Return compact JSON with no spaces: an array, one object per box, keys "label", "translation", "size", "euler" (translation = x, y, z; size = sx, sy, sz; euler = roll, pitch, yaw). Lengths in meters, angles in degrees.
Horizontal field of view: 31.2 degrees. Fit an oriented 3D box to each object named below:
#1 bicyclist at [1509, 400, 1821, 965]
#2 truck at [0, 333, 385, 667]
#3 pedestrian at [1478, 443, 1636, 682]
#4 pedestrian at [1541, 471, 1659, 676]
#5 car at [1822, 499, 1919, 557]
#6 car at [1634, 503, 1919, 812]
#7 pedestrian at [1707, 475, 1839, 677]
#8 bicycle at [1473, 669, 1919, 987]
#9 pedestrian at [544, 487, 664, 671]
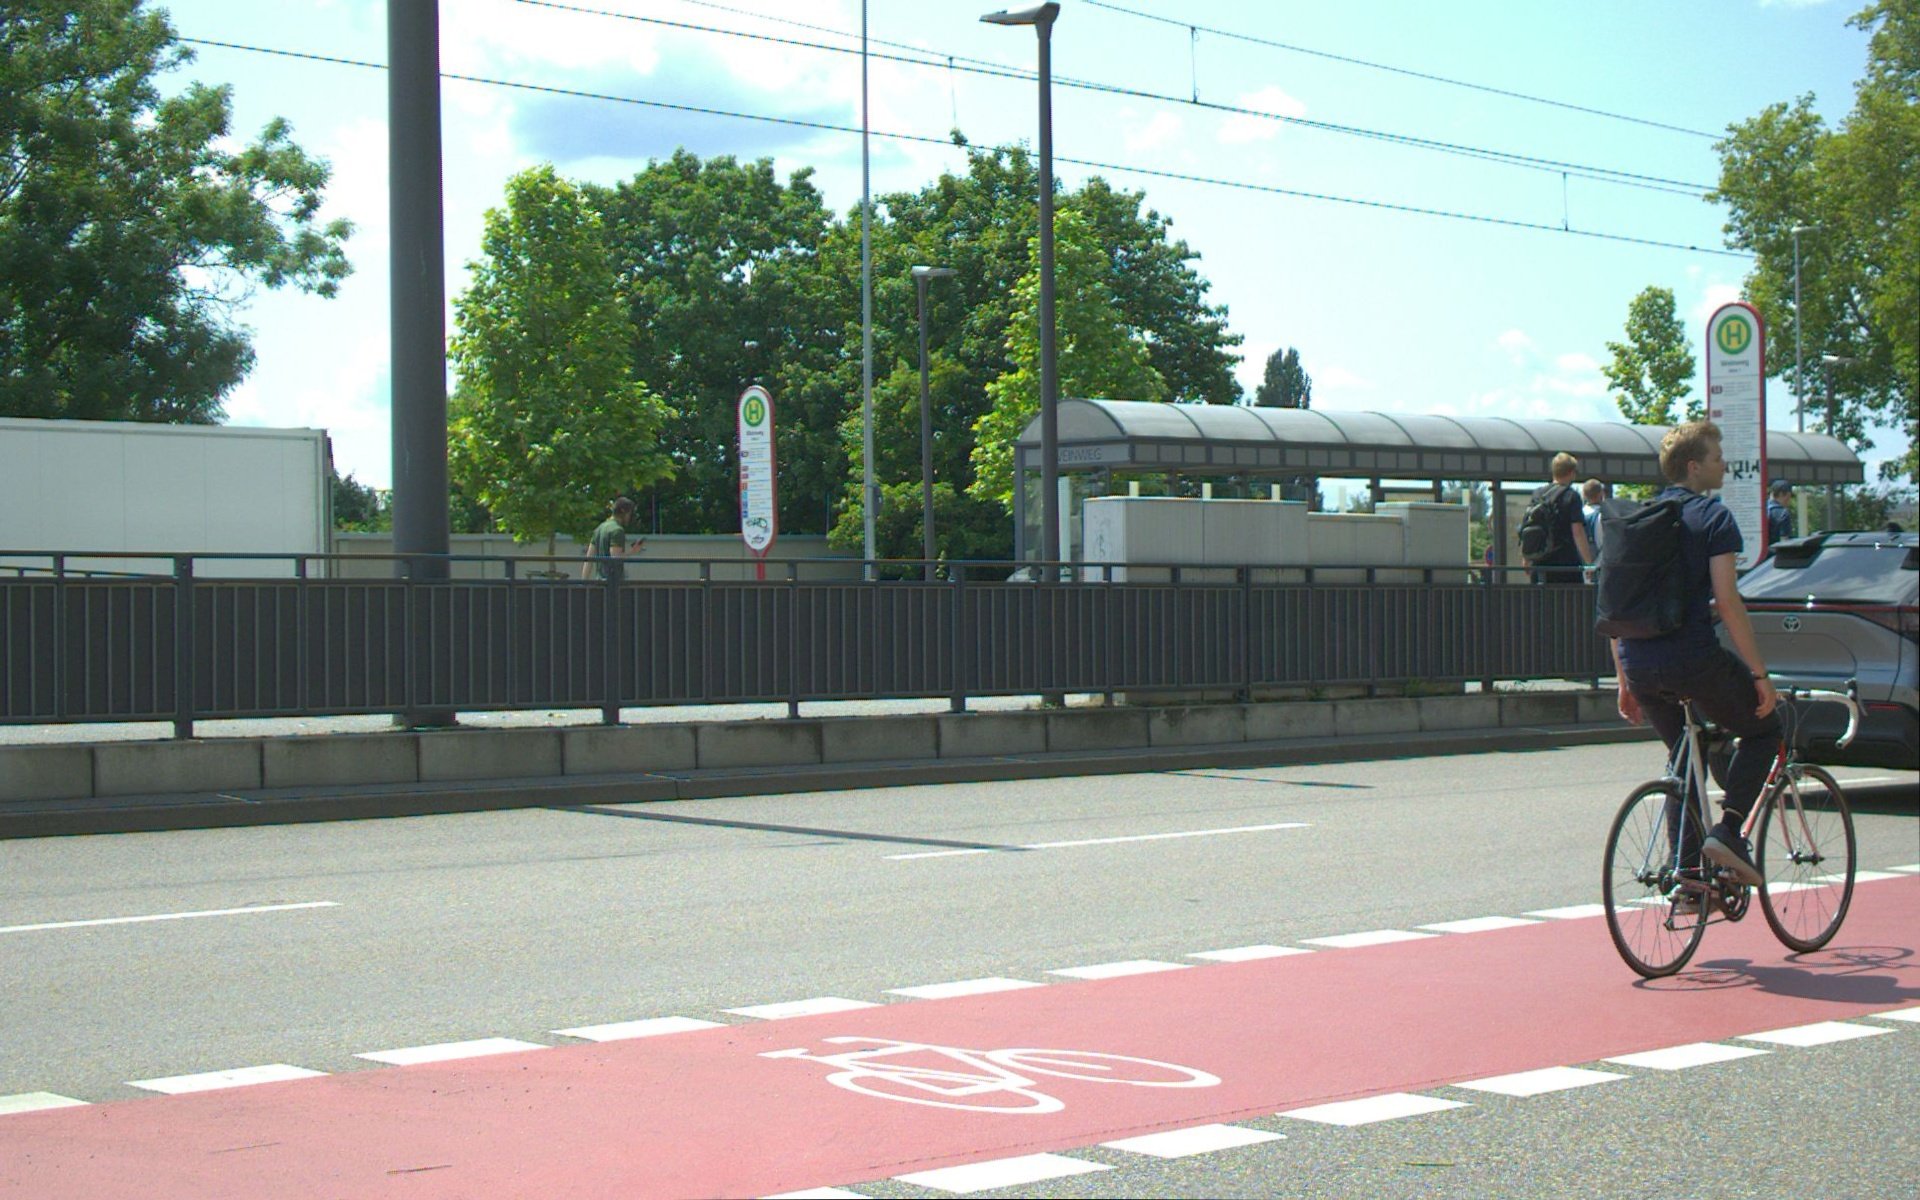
[{"label":"bicyclist","translation":[2.409,0.262,11.729],"size":[0.921,1.840,0.611],"euler":[0,1,-45]},{"label":"truck","translation":[-13.026,-1.242,42.855],"size":[11.965,4.090,2.950],"euler":[-1,1,-44]},{"label":"pedestrian","translation":[4.951,-0.322,28.490],"size":[0.875,1.932,0.992],"euler":[1,2,45]},{"label":"pedestrian","translation":[5.897,-0.252,31.699],"size":[0.873,1.865,0.677],"euler":[-1,1,-13]},{"label":"car","translation":[27.073,-2.092,99.087],"size":[1.905,1.656,3.926],"euler":[-2,2,-44]},{"label":"car","translation":[6.137,0.266,20.741],"size":[1.903,1.669,4.508],"euler":[1,1,44]},{"label":"pedestrian","translation":[7.182,-0.216,30.365],"size":[0.927,1.749,0.736],"euler":[0,1,-45]},{"label":"bicycle","translation":[2.671,0.754,12.002],"size":[2.018,0.996,0.622],"euler":[1,1,-44]},{"label":"pedestrian","translation":[-3.532,-0.212,34.137],"size":[0.927,1.801,0.736],"euler":[0,1,-45]}]
